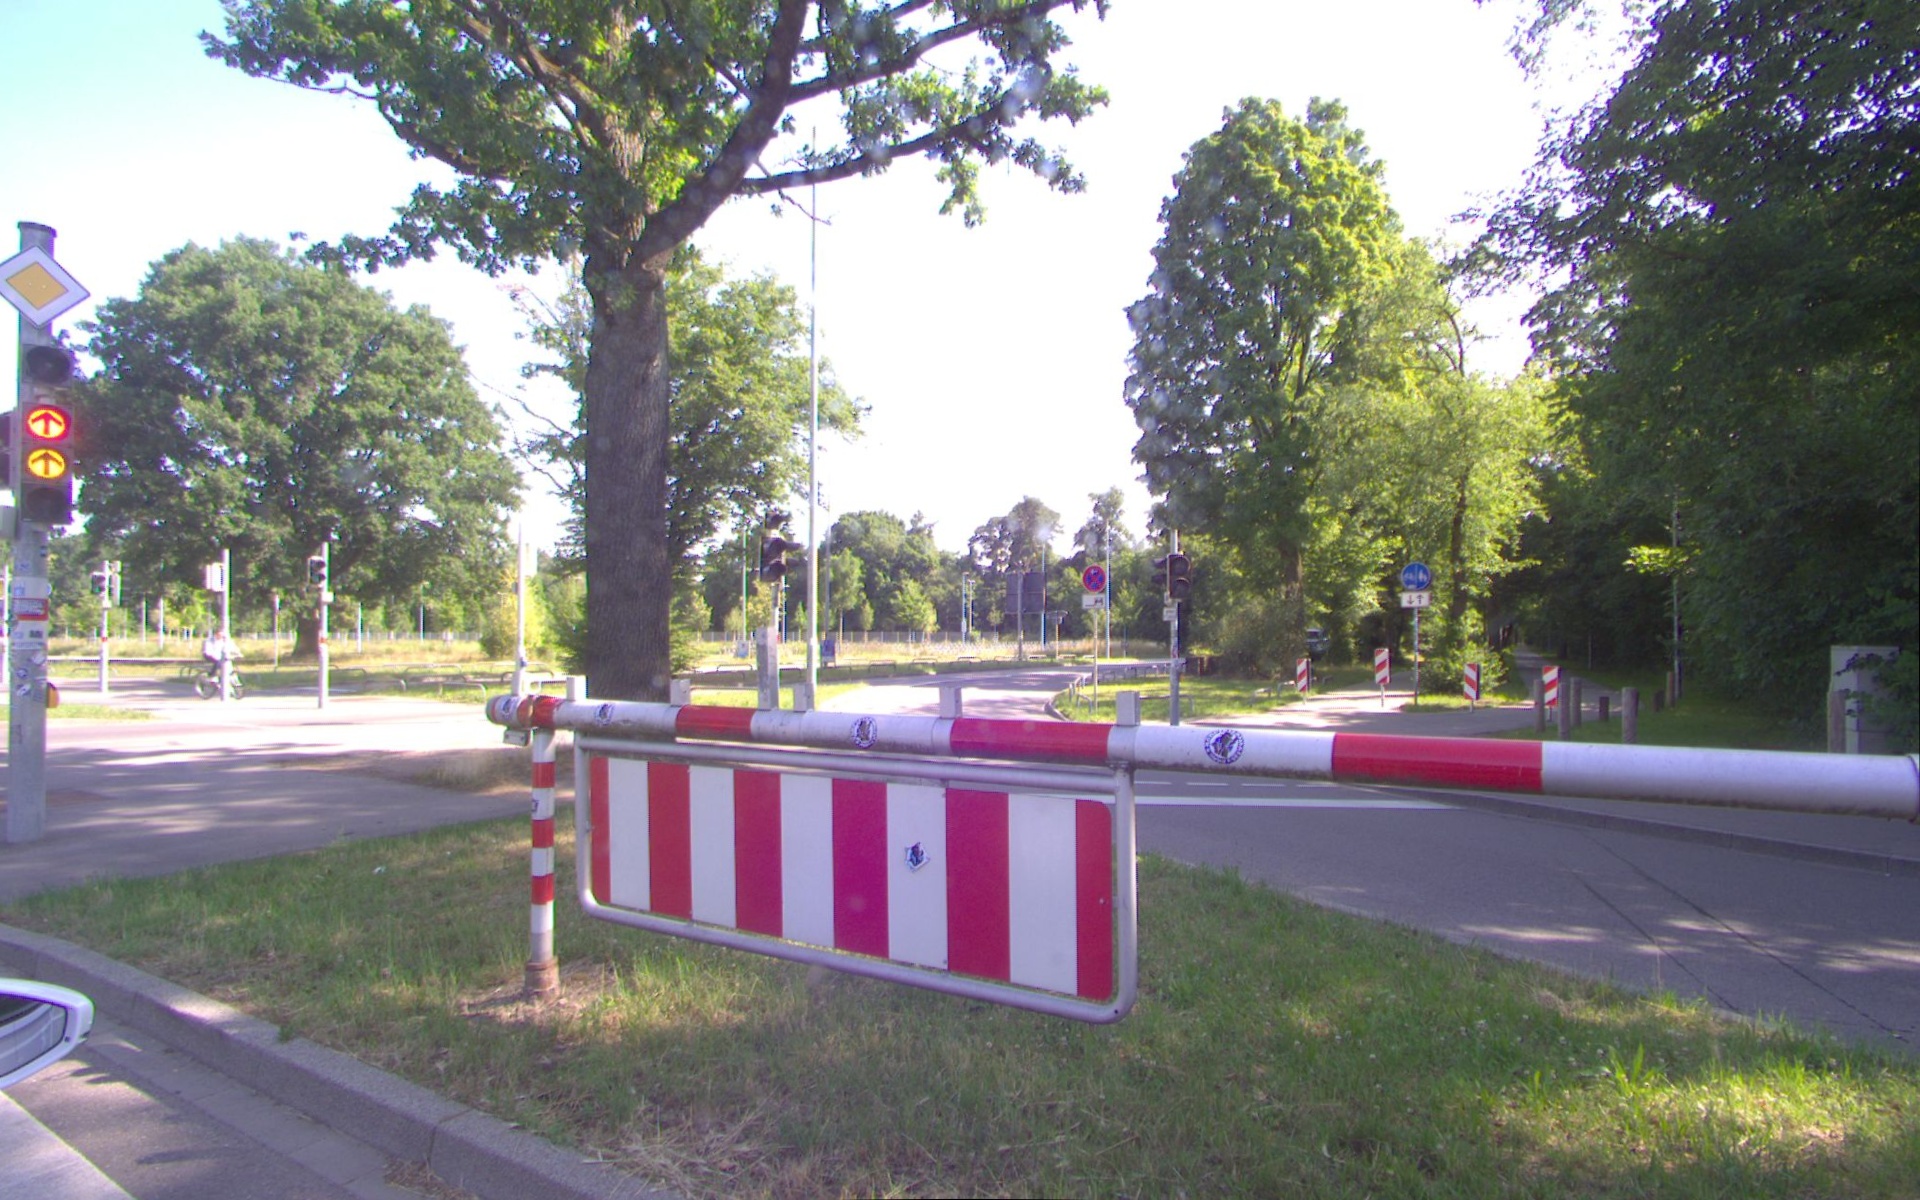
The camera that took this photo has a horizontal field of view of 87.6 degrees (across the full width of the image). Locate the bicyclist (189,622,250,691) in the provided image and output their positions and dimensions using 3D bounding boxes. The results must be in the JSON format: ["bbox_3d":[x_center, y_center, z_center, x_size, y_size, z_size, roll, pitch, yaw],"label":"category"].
[{"bbox_3d":[-18.261,1.373,24.700,1.039,1.660,0.725,0,-1,16],"label":"bicyclist"}]

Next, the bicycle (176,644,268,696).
[{"bbox_3d":[-18.169,1.707,24.655,2.062,1.215,0.725,0,-1,16],"label":"bicycle"}]

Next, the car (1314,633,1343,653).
[{"bbox_3d":[33.395,3.905,90.716,1.826,1.772,3.983,0,-2,30],"label":"car"}]
